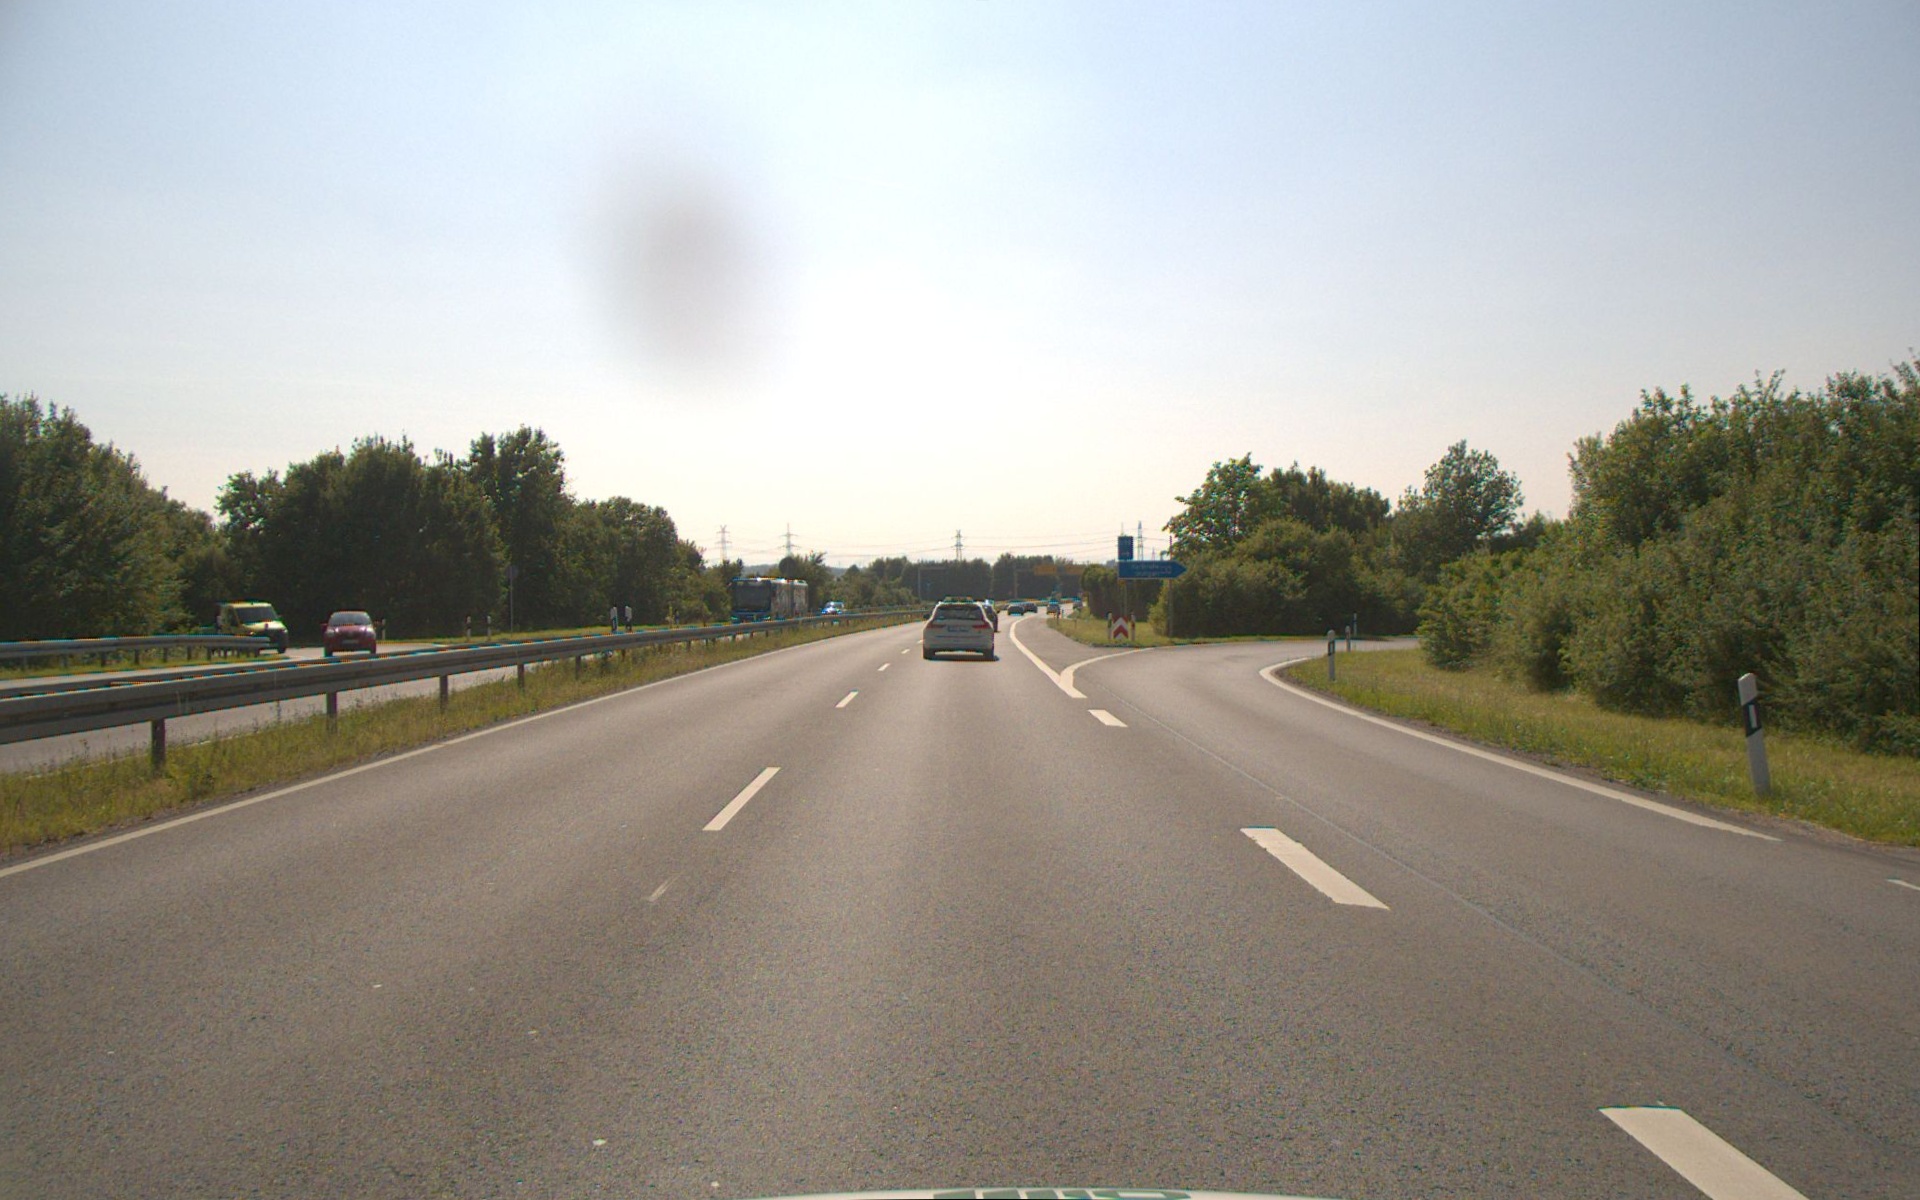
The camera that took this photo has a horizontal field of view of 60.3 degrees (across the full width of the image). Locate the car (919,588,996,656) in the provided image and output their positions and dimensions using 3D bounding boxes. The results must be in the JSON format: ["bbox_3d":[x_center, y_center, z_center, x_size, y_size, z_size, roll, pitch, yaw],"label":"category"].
[{"bbox_3d":[-0.051,0.542,43.566,1.918,1.629,4.107,1,1,0],"label":"car"}]

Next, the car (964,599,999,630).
[{"bbox_3d":[1.094,0.735,85.358,1.756,1.570,3.671,0,0,0],"label":"car"}]

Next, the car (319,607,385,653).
[{"bbox_3d":[-21.155,1.018,57.662,1.755,1.471,3.984,-1,0,-15],"label":"car"}]

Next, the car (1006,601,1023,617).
[{"bbox_3d":[6.415,1.000,194.305,1.802,1.834,4.002,0,0,3],"label":"car"}]

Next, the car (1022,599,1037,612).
[{"bbox_3d":[9.456,0.734,225.754,1.803,1.728,4.000,0,0,0],"label":"car"}]

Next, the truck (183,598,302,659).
[{"bbox_3d":[-32.300,1.305,74.345,6.492,2.496,2.123,-3,0,40],"label":"truck"}]

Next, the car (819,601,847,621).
[{"bbox_3d":[-11.106,0.940,144.770,1.952,1.633,4.275,1,1,1],"label":"car"}]

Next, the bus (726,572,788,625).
[{"bbox_3d":[-12.914,-0.110,106.065,2.669,3.164,9.835,-1,0,0],"label":"bus"}]
